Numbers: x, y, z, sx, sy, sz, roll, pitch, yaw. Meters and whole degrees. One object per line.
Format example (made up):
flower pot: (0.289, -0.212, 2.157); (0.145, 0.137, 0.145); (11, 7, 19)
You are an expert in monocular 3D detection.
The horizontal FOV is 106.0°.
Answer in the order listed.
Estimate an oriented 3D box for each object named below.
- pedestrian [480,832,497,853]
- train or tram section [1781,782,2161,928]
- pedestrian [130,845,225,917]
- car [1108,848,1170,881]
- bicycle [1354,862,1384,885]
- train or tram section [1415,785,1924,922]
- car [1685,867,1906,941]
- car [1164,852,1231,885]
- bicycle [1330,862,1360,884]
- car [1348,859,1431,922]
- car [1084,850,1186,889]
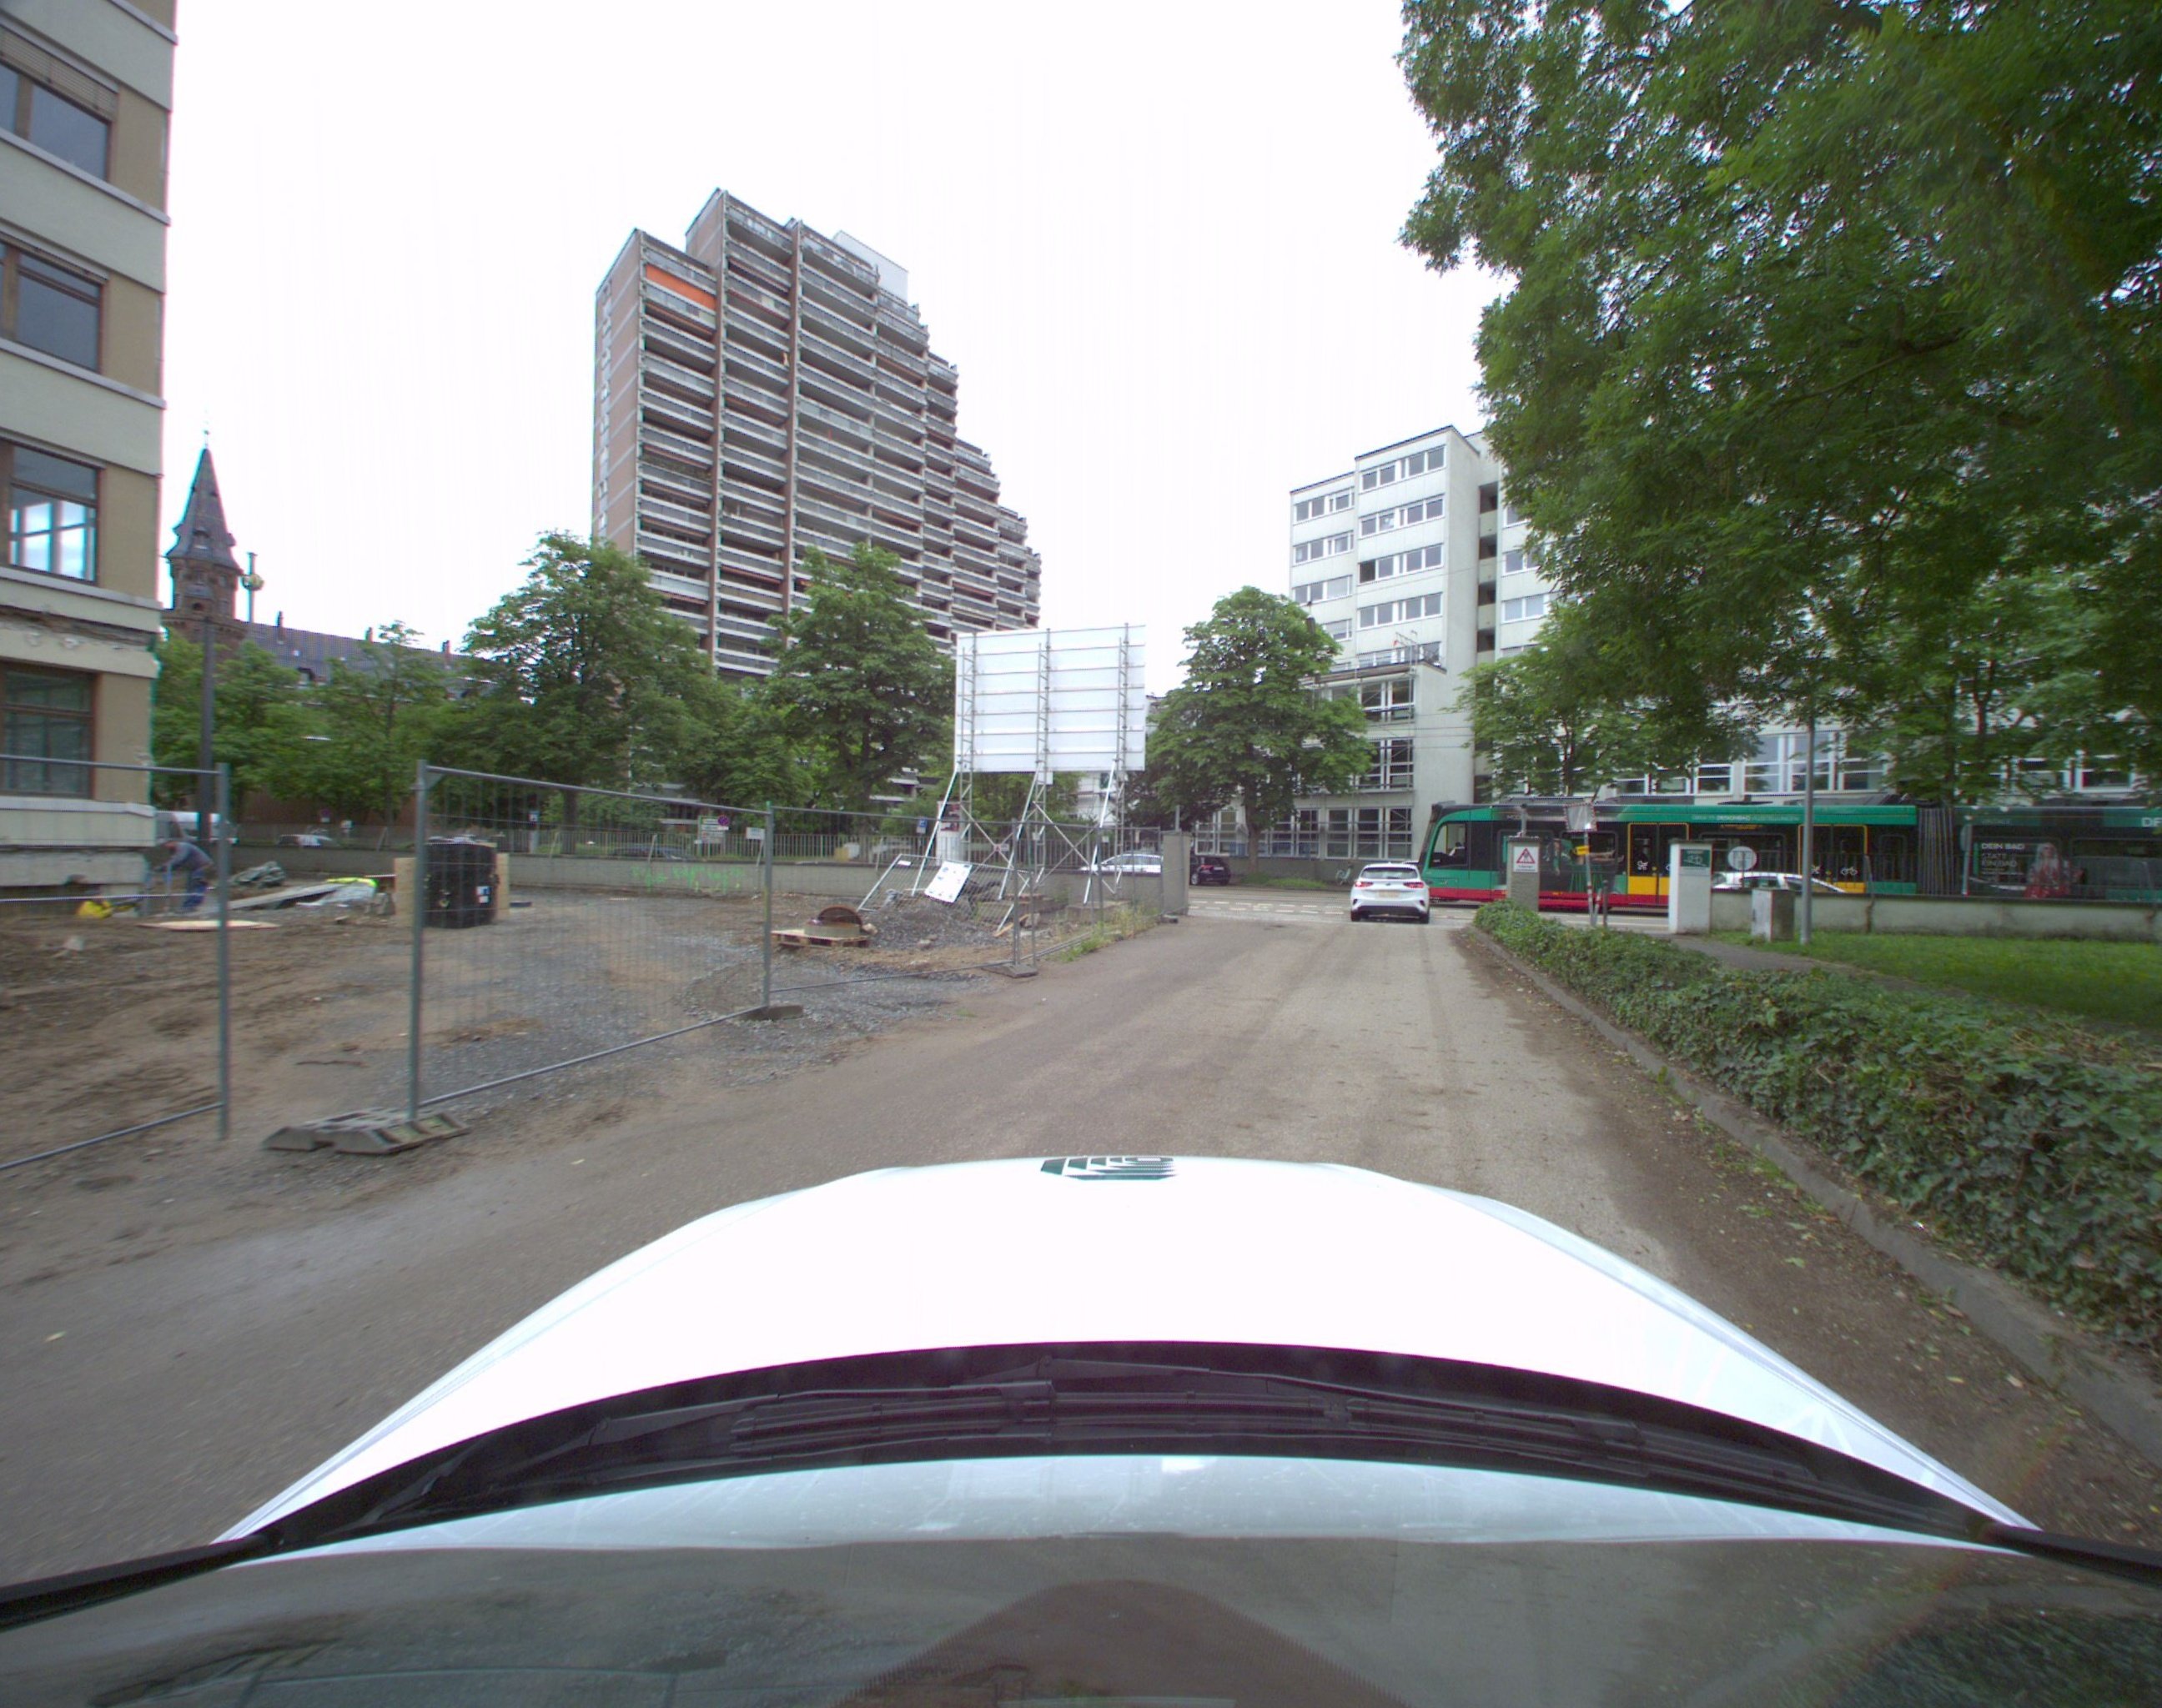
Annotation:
pedestrian: (-42.115, -0.808, 57.873); (0.518, 1.527, 0.846); (1, 0, 7)
train or tram section: (26.682, 0.023, 21.524); (12.316, 3.614, 2.681); (1, 0, 18)
pedestrian: (-18.783, 0.544, 16.947); (0.921, 1.438, 0.987); (1, -1, 15)
car: (2.784, 0.468, 39.834); (1.622, 1.537, 3.309); (1, 0, -25)
bicycle: (14.920, 1.003, 42.124); (0.638, 1.074, 2.326); (1, 2, 41)
train or tram section: (16.893, -0.091, 24.757); (12.316, 3.614, 2.681); (1, 0, 18)
car: (16.676, 1.112, 19.220); (3.553, 1.500, 1.674); (1, 0, 19)
car: (5.506, 0.666, 38.865); (1.621, 1.511, 3.309); (1, 0, -25)
bicycle: (13.959, 0.996, 42.995); (0.638, 1.074, 2.326); (1, 2, 41)
car: (7.957, 0.934, 20.804); (1.759, 1.433, 4.000); (0, -3, 24)
car: (2.309, 0.631, 34.459); (3.954, 1.519, 1.739); (1, 0, 19)
